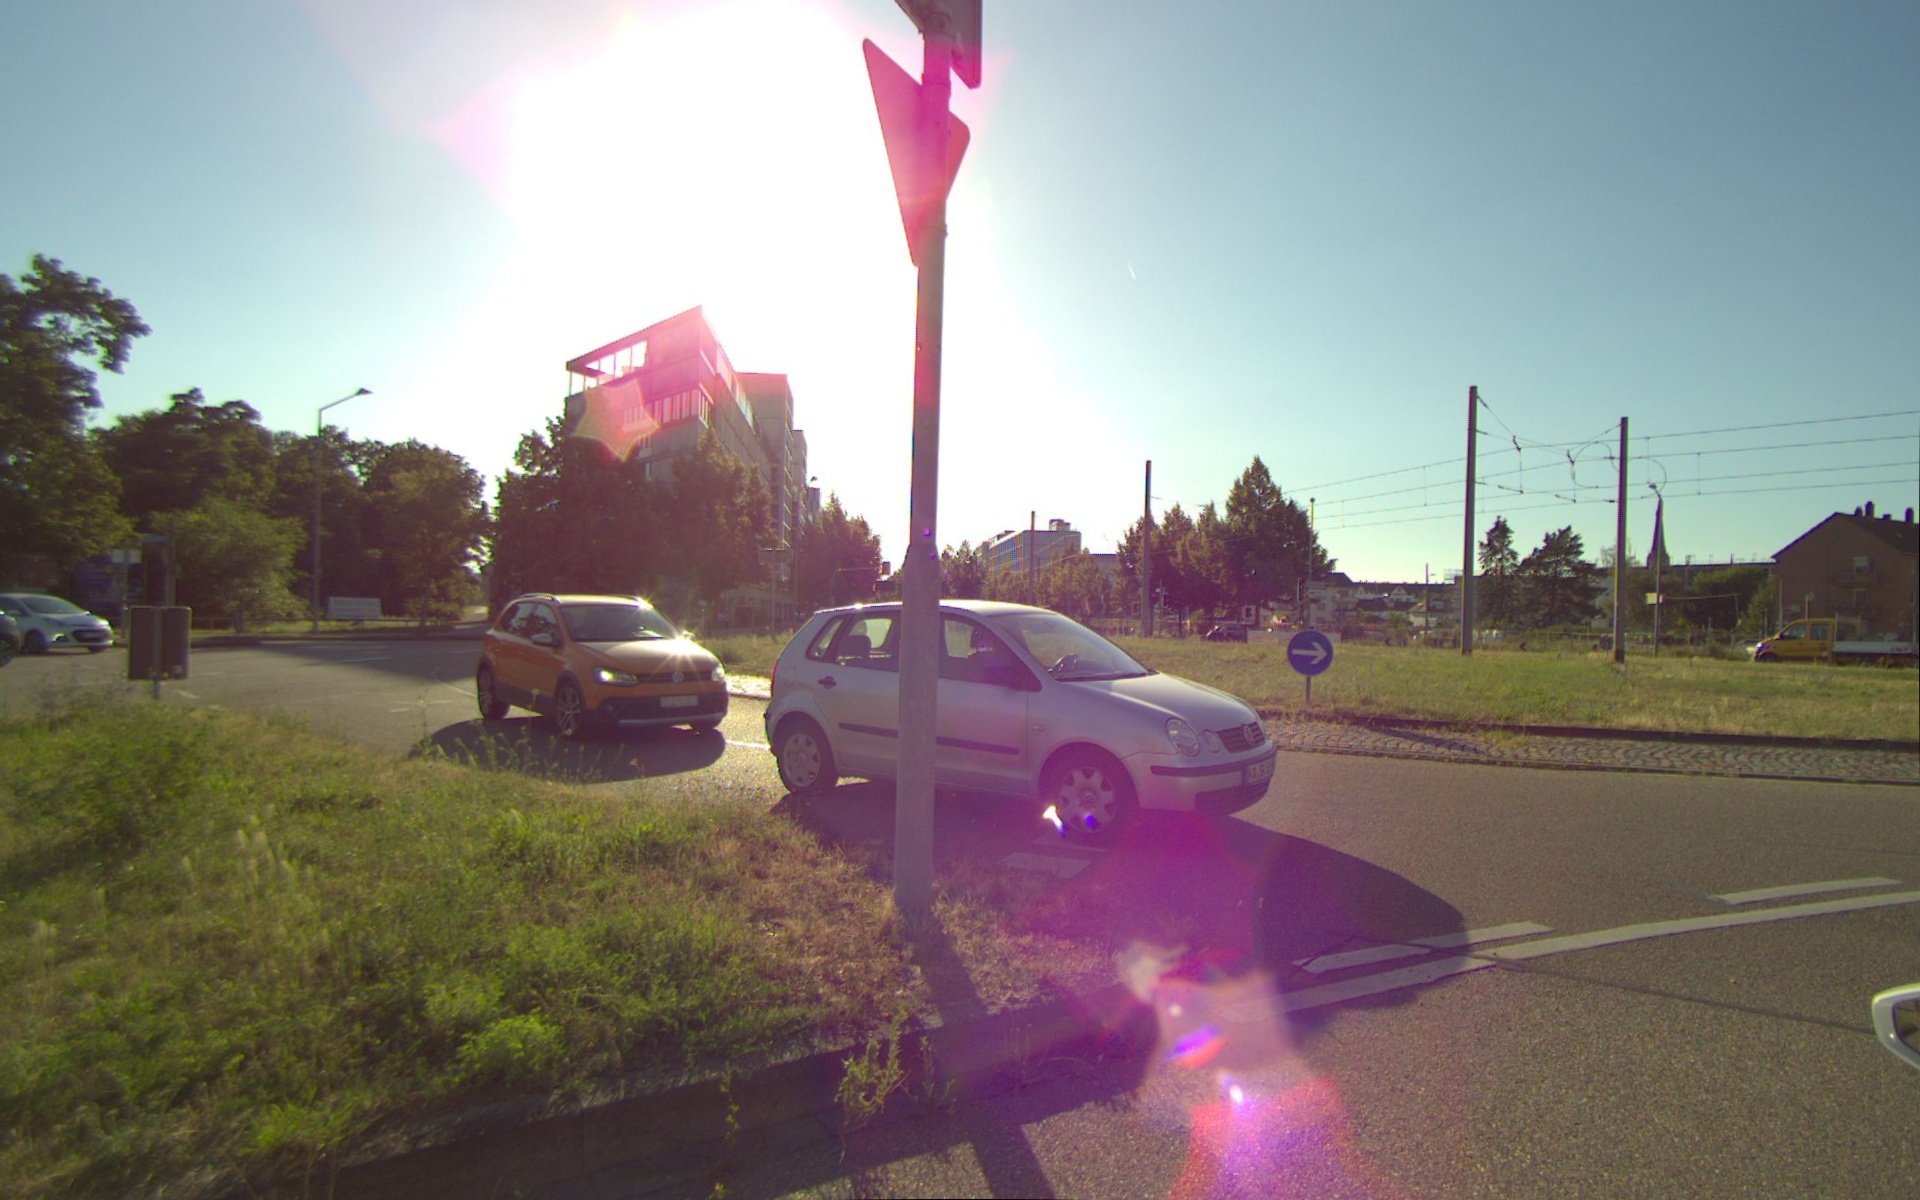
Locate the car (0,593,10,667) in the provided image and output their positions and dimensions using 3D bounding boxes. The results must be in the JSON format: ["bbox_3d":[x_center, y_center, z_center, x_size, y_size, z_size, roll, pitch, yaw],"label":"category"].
[{"bbox_3d":[-19.820,0.566,18.450,1.479,1.473,3.462,1,-1,-2],"label":"car"}]

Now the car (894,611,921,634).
[{"bbox_3d":[-4.718,1.999,89.932,1.963,2.040,3.995,1,-1,-8],"label":"car"}]

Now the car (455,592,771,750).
[{"bbox_3d":[-4.085,0.679,11.451,1.896,1.464,4.086,2,-1,-43],"label":"car"}]

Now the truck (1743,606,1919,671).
[{"bbox_3d":[38.147,1.598,43.523,2.551,2.592,6.218,1,-1,-22],"label":"truck"}]

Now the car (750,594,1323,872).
[{"bbox_3d":[0.422,0.715,7.183,3.701,1.453,1.828,1,-1,39],"label":"car"}]

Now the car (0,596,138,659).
[{"bbox_3d":[-24.055,0.685,26.225,3.895,1.528,1.850,1,-1,8],"label":"car"}]
